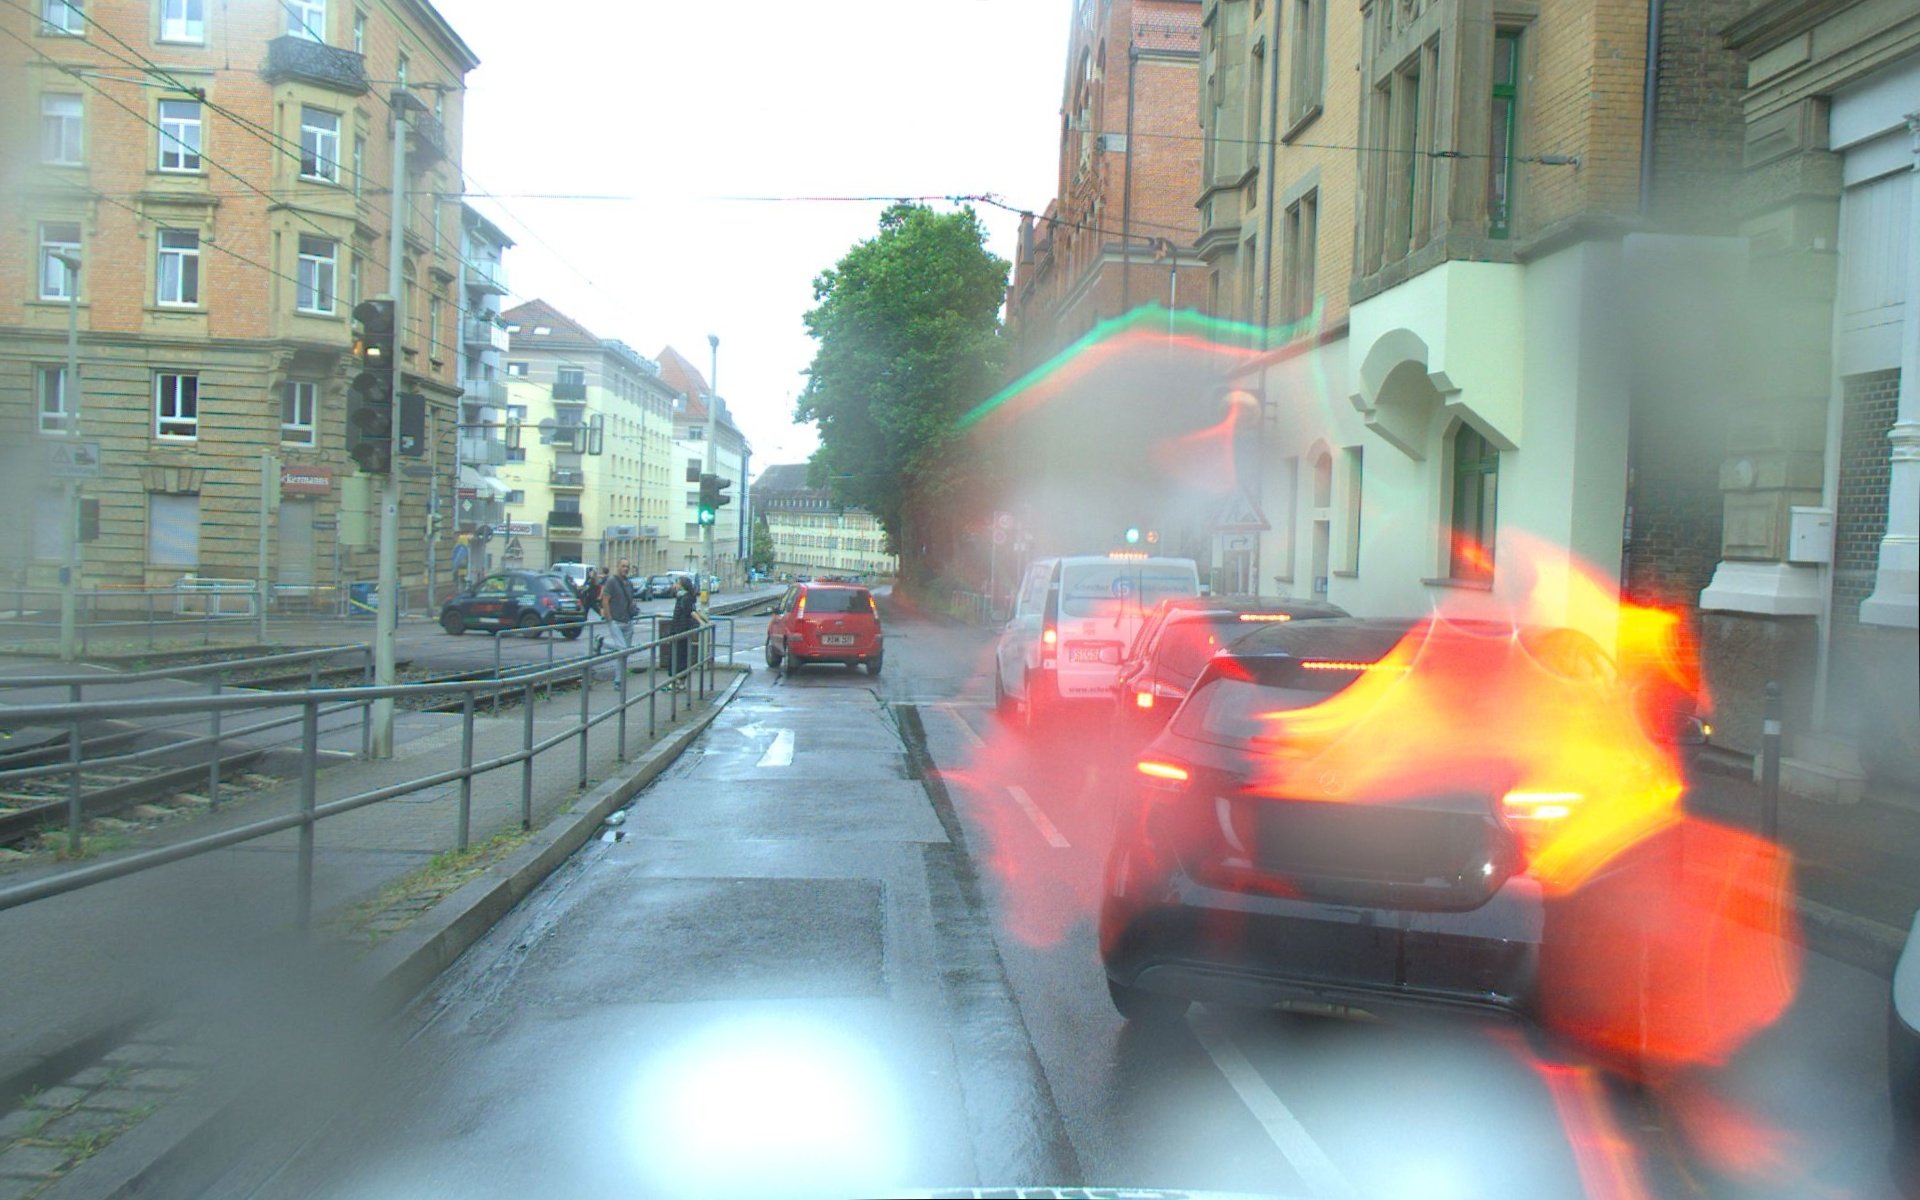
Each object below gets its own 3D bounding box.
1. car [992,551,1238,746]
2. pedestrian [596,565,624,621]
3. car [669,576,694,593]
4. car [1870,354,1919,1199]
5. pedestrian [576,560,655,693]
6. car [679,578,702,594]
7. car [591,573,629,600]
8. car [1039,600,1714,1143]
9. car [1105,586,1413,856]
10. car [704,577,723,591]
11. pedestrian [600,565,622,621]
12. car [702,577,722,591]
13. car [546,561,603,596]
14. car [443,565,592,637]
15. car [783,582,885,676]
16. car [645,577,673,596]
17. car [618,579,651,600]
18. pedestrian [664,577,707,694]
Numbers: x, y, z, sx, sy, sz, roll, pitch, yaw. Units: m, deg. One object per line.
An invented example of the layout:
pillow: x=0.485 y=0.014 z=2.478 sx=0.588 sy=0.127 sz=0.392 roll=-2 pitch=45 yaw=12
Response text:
car: x=1.560 y=0.449 z=18.294 sx=1.896 sy=1.863 sz=4.276 roll=2 pitch=1 yaw=-6
pedestrian: x=-10.658 y=-0.218 z=50.421 sx=0.664 sy=1.690 sz=0.676 roll=1 pitch=0 yaw=3
car: x=-20.328 y=-1.109 z=120.648 sx=1.367 sy=1.191 sz=3.160 roll=2 pitch=0 yaw=-3
car: x=2.976 y=0.514 z=1.227 sx=1.882 sy=1.969 sz=4.684 roll=2 pitch=0 yaw=-2
pedestrian: x=-4.681 y=0.356 z=22.471 sx=0.728 sy=1.754 sz=0.736 roll=2 pitch=0 yaw=44
car: x=-20.690 y=-1.074 z=127.192 sx=1.367 sy=1.191 sz=3.160 roll=2 pitch=0 yaw=-3
car: x=-18.505 y=-0.718 z=87.513 sx=1.470 sy=1.379 sz=3.160 roll=2 pitch=0 yaw=-3
car: x=1.964 y=0.739 z=6.674 sx=1.857 sy=1.414 sz=3.996 roll=2 pitch=0 yaw=26
car: x=1.904 y=0.679 z=11.666 sx=1.677 sy=1.494 sz=4.283 roll=2 pitch=0 yaw=4
car: x=-22.158 y=-1.473 z=148.828 sx=1.367 sy=1.191 sz=3.160 roll=2 pitch=0 yaw=-3
pedestrian: x=-10.846 y=-0.221 z=51.388 sx=0.508 sy=1.695 sz=0.477 roll=3 pitch=0 yaw=0
car: x=-21.614 y=-1.369 z=144.364 sx=1.367 sy=1.191 sz=3.160 roll=2 pitch=0 yaw=-3
car: x=-17.888 y=-0.986 z=77.007 sx=1.750 sy=1.556 sz=4.460 roll=2 pitch=0 yaw=-3
car: x=-10.237 y=0.015 z=38.292 sx=3.089 sy=1.515 sz=1.424 roll=2 pitch=1 yaw=24
car: x=-2.216 y=0.451 z=28.964 sx=1.647 sy=1.515 sz=3.609 roll=1 pitch=1 yaw=-5
car: x=-19.860 y=-0.903 z=109.147 sx=1.367 sy=1.191 sz=3.160 roll=2 pitch=0 yaw=-3
car: x=-18.896 y=-0.626 z=96.147 sx=1.408 sy=1.126 sz=3.160 roll=2 pitch=0 yaw=-3
pedestrian: x=-3.723 y=0.480 z=22.440 sx=0.522 sy=1.557 sz=0.435 roll=2 pitch=0 yaw=-11
